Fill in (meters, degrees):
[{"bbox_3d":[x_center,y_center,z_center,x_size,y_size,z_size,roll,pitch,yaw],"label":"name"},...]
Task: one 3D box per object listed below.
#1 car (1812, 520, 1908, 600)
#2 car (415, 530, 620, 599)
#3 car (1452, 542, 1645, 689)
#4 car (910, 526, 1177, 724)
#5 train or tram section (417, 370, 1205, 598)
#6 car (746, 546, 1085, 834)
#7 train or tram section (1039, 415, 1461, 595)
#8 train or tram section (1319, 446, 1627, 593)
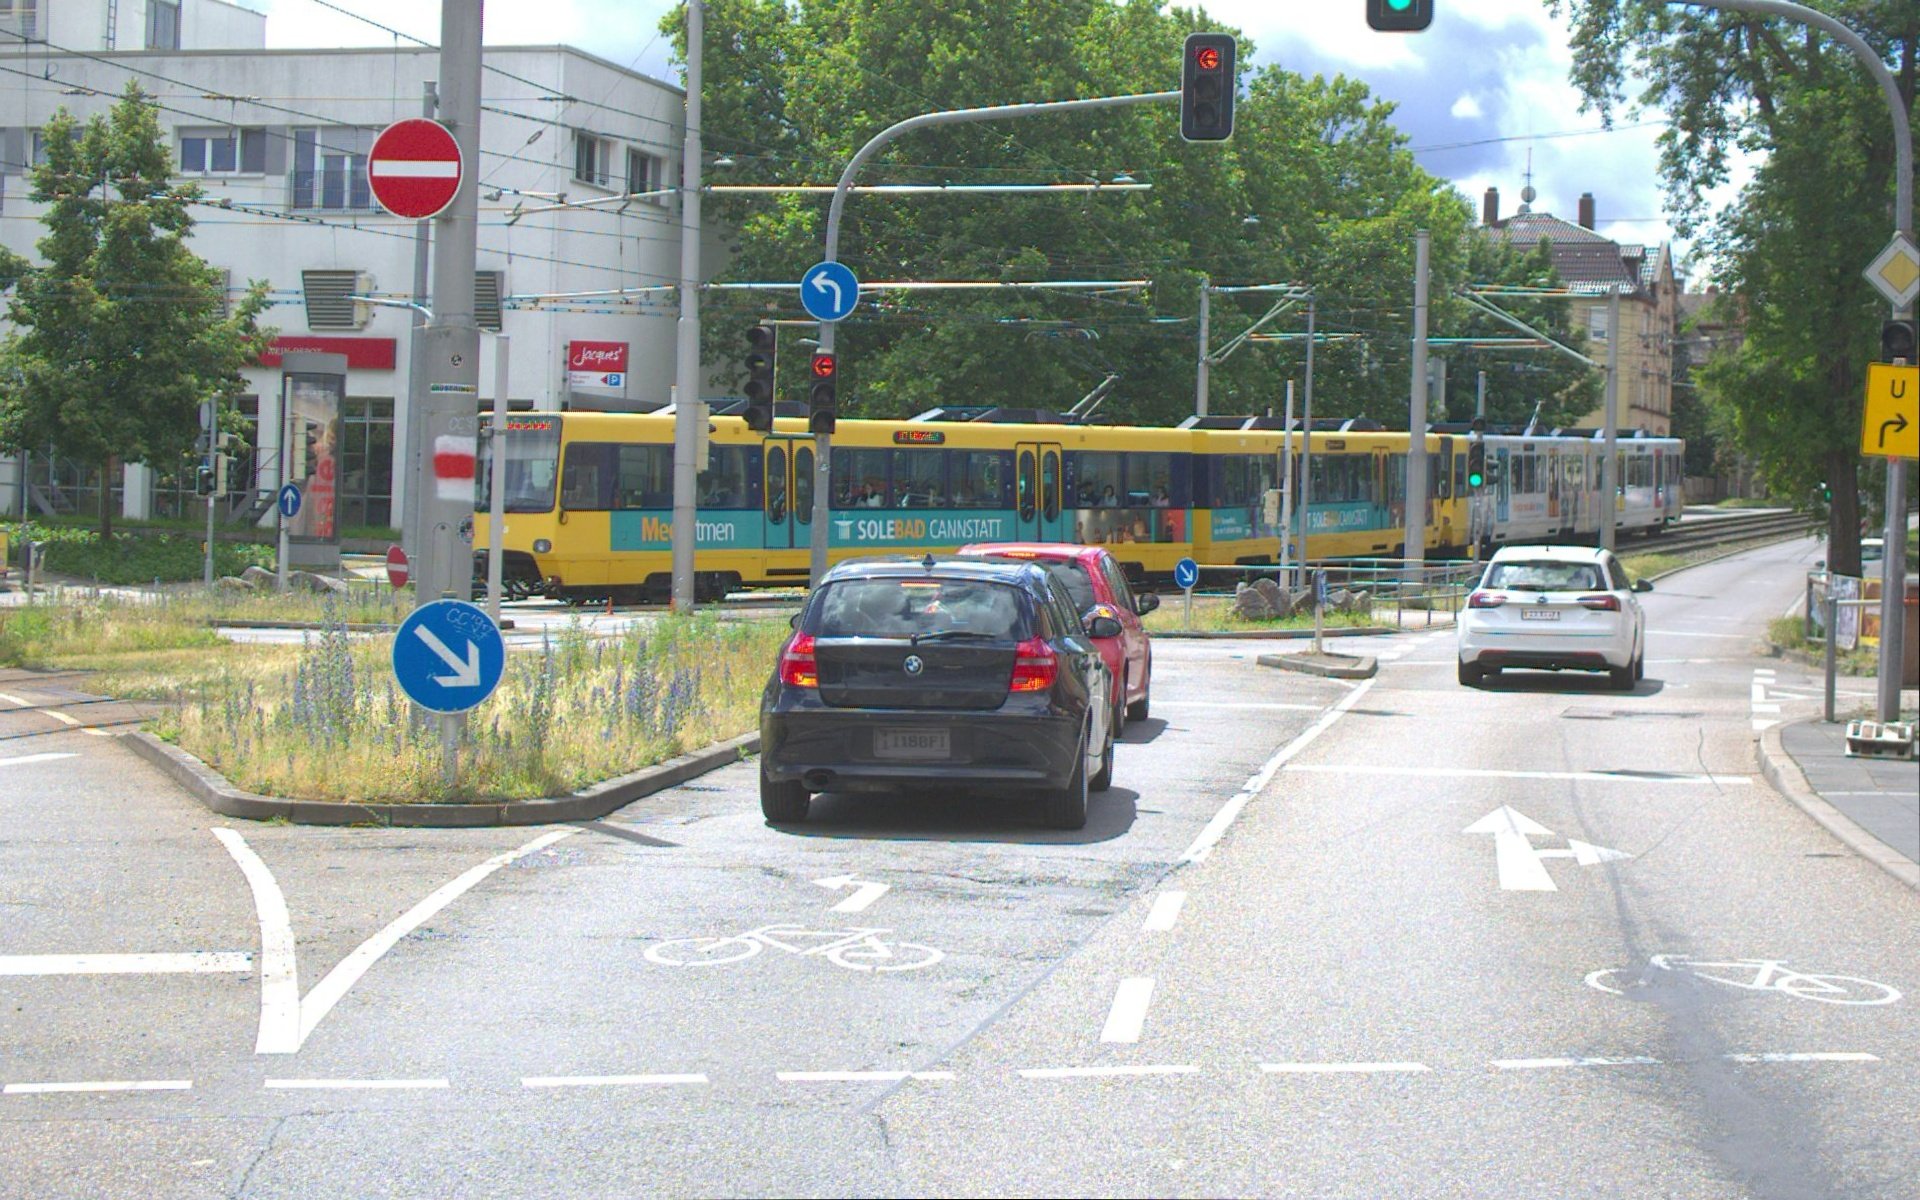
[{"bbox_3d":[18.352,-0.799,70.032,1.788,1.590,3.997,0,0,16],"label":"car"},{"bbox_3d":[-9.287,-0.724,72.405,1.888,1.412,3.990,0,0,43],"label":"car"},{"bbox_3d":[6.375,0.117,36.971,1.816,1.463,3.998,1,1,13],"label":"car"},{"bbox_3d":[0.743,0.177,27.583,1.625,1.468,3.998,0,0,9],"label":"car"},{"bbox_3d":[-2.222,-2.011,67.259,3.758,3.906,18.852,0,0,40],"label":"train or tram section"},{"bbox_3d":[-0.209,0.444,19.282,1.701,1.447,4.000,0,0,0],"label":"car"},{"bbox_3d":[7.504,-2.044,82.836,3.754,3.816,20.123,0,0,24],"label":"train or tram section"},{"bbox_3d":[15.430,-2.157,100.801,3.754,3.866,20.610,0,0,23],"label":"train or tram section"}]
